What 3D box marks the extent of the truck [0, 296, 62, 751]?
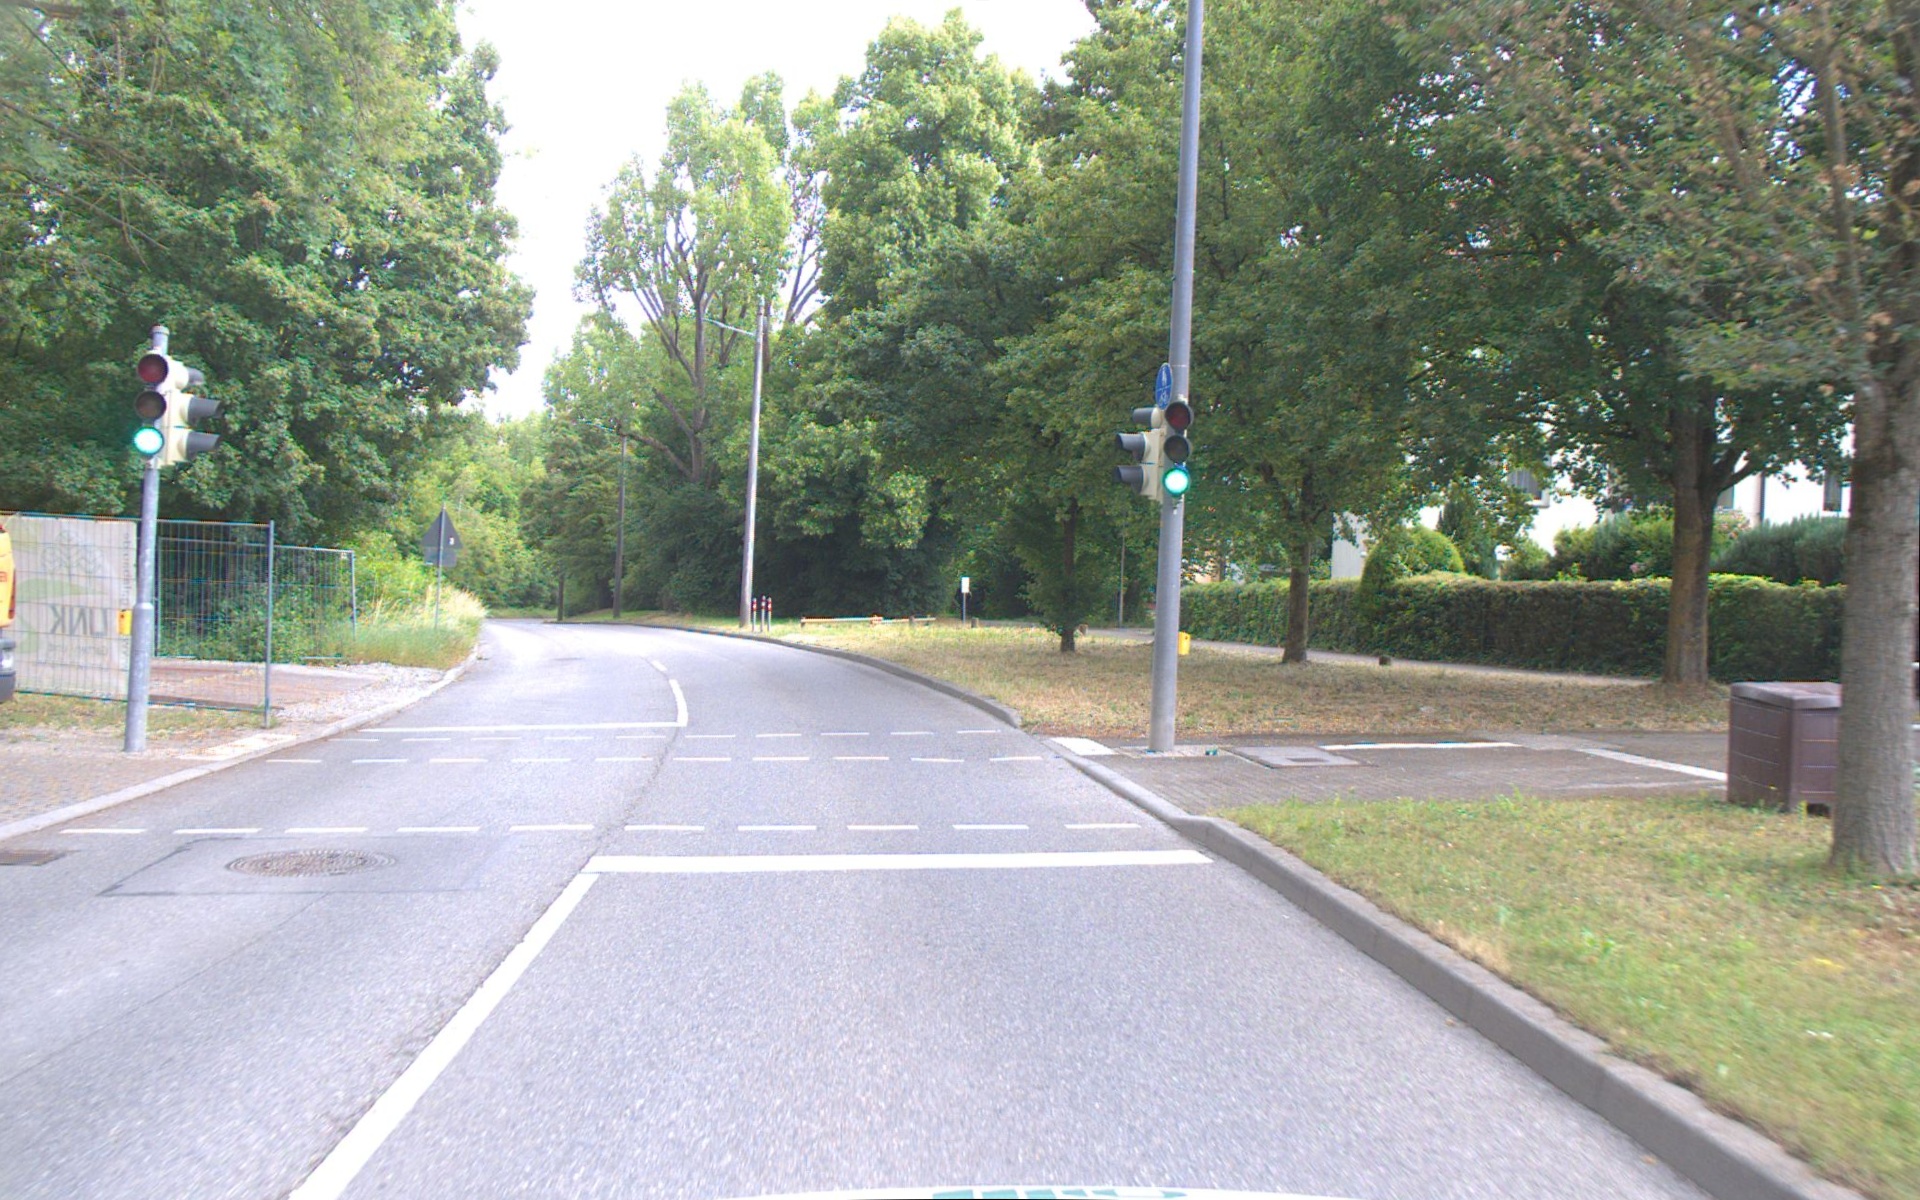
[{"bbox_3d":[-12.064,-0.762,12.257,9.053,3.593,2.562,2,0,-6],"label":"truck"}]
